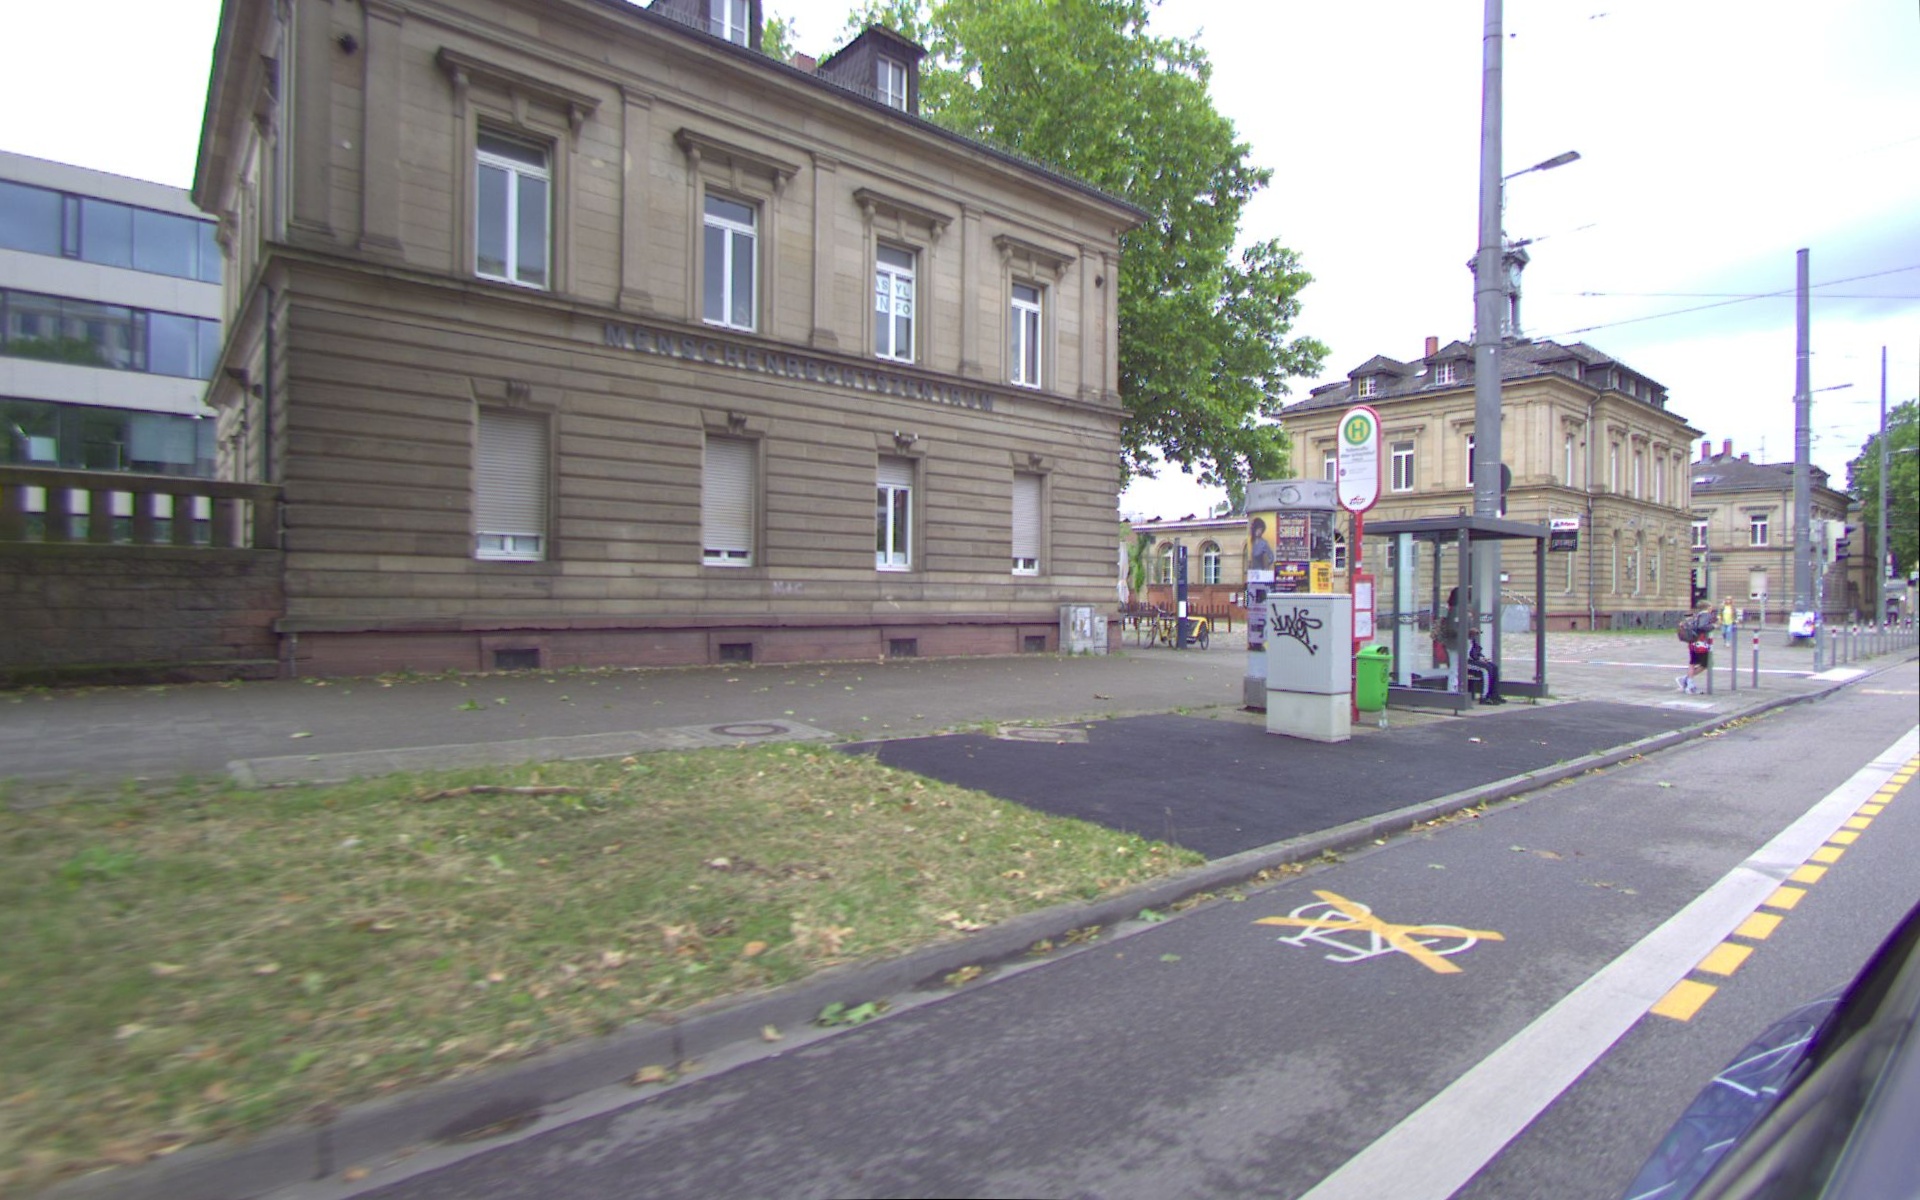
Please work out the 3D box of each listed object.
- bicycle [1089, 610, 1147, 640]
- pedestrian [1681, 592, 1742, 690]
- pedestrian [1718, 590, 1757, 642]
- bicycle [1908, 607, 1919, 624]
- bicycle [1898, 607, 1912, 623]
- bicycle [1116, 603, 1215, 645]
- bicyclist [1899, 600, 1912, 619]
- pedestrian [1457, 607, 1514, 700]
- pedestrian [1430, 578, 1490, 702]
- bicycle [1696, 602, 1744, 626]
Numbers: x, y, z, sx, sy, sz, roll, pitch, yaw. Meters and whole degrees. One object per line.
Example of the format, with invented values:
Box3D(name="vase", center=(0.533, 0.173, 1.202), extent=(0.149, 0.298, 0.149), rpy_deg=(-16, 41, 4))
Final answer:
Box3D(name="bicycle", center=(4.847, 0.762, 31.051), extent=(2.046, 0.883, 0.610), rpy_deg=(0, 0, -42))
Box3D(name="pedestrian", center=(12.227, 0.645, 16.476), extent=(0.625, 1.547, 0.554), rpy_deg=(0, 0, -23))
Box3D(name="pedestrian", center=(25.816, 0.526, 33.611), extent=(0.979, 1.699, 0.722), rpy_deg=(0, 0, -30))
Box3D(name="bicycle", center=(61.919, 0.997, 65.466), extent=(1.670, 1.082, 0.717), rpy_deg=(-1, 1, -42))
Box3D(name="bicycle", center=(71.958, 1.154, 77.068), extent=(0.674, 1.179, 2.083), rpy_deg=(1, 1, 41))
Box3D(name="bicycle", center=(5.804, 0.684, 28.410), extent=(3.347, 1.082, 0.901), rpy_deg=(3, -2, -42))
Box3D(name="bicyclist", center=(71.936, 0.743, 77.003), extent=(0.692, 1.417, 0.804), rpy_deg=(1, 1, 41))
Box3D(name="pedestrian", center=(7.375, 0.732, 14.199), extent=(0.690, 1.249, 0.477), rpy_deg=(0, 1, -41))
Box3D(name="pedestrian", center=(6.589, 0.504, 13.340), extent=(0.690, 1.583, 0.477), rpy_deg=(0, 0, -41))
Box3D(name="bicycle", center=(38.533, 0.689, 51.355), extent=(1.844, 1.091, 0.541), rpy_deg=(4, 2, 32))
